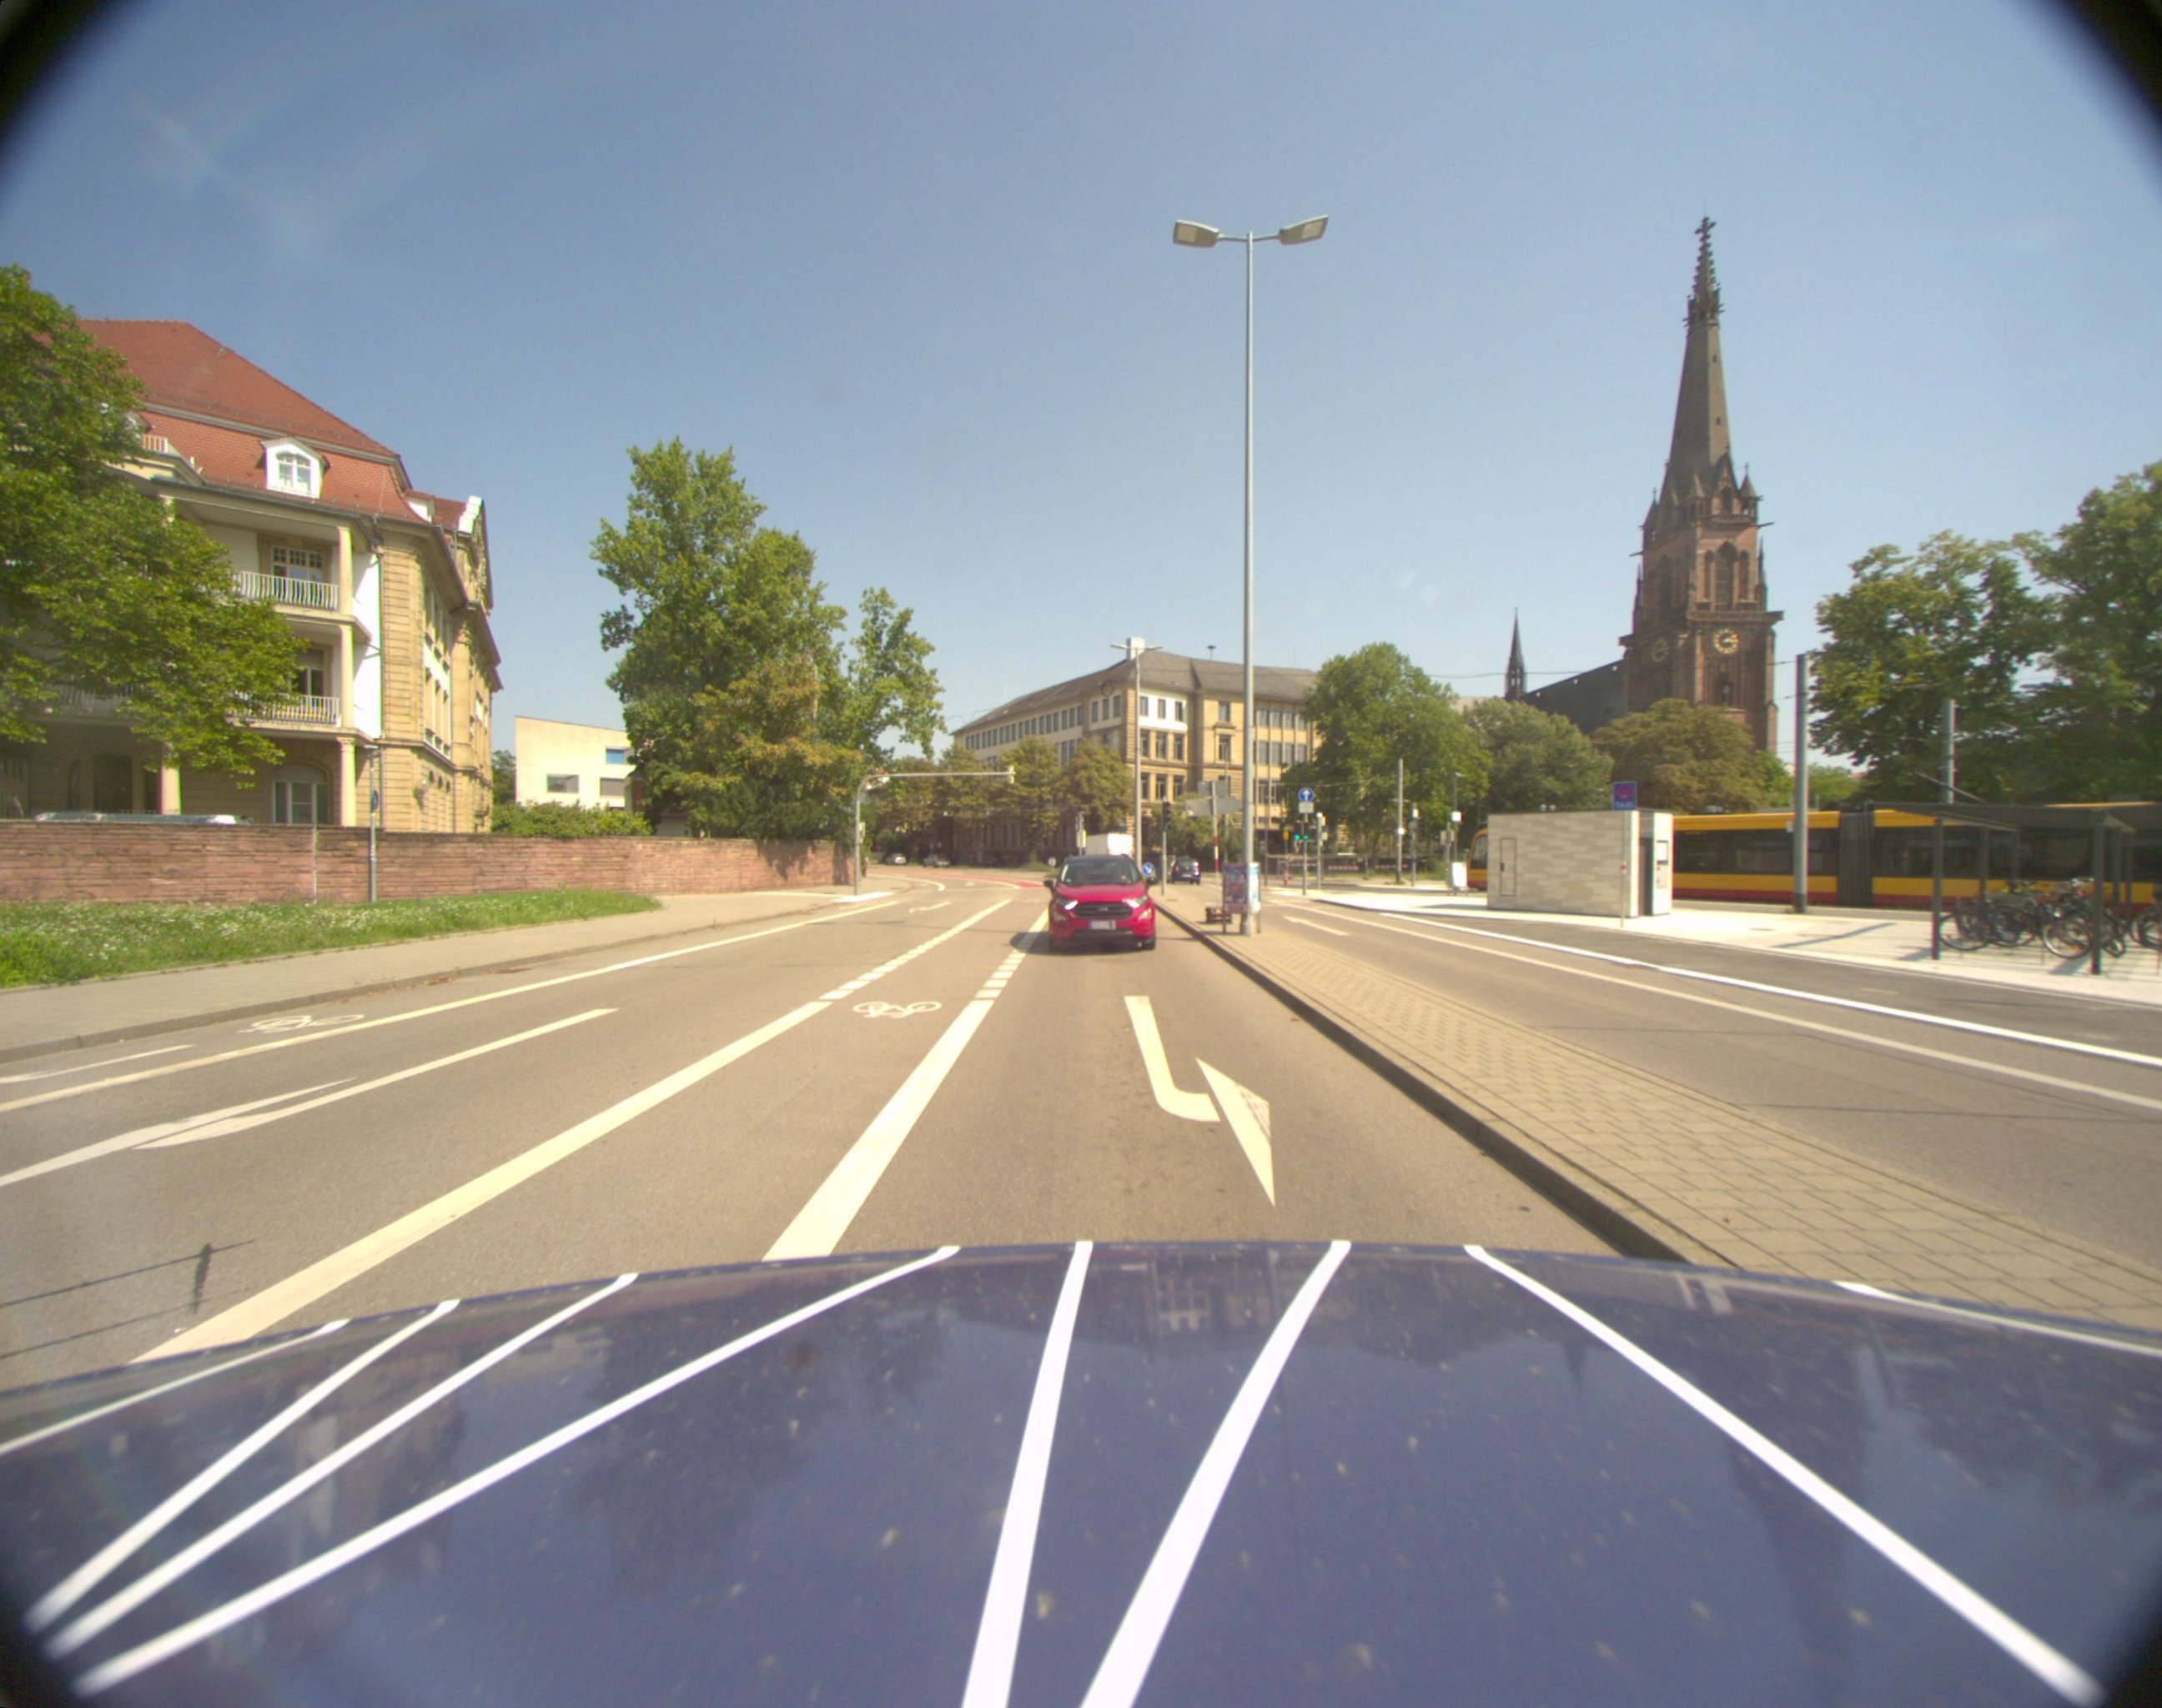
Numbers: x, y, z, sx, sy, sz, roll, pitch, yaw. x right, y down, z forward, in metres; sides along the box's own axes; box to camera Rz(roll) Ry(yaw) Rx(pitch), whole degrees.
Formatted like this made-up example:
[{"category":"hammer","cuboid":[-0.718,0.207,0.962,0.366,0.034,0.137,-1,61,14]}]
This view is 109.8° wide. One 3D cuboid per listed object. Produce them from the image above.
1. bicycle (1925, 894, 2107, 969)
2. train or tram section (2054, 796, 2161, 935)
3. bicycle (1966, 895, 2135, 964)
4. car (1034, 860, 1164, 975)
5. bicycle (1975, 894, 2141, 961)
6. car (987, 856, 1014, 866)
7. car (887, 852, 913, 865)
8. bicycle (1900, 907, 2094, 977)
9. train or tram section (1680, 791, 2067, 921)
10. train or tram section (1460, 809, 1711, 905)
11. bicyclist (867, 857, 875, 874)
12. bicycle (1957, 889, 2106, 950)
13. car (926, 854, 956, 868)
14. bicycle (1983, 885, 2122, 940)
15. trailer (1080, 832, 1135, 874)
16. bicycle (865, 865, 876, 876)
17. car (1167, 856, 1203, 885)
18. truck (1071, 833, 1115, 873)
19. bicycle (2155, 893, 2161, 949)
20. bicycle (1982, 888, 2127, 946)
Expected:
[{"category":"bicycle","cuboid":[15.543,1.247,12.692,0.528,1.075,1.860,0,0,-32]},{"category":"train or tram section","cuboid":[30.527,0.347,18.291,3.168,3.576,8.503,1,0,-34]},{"category":"bicycle","cuboid":[16.828,1.272,13.242,0.528,1.034,1.765,0,0,-32]},{"category":"car","cuboid":[0.272,0.921,12.849,1.844,1.605,4.000,1,0,0]},{"category":"bicycle","cuboid":[17.433,1.272,13.607,0.528,1.034,1.765,0,0,-32]},{"category":"car","cuboid":[-9.763,0.788,91.914,3.064,1.169,1.248,0,0,-39]},{"category":"car","cuboid":[-23.217,0.553,97.599,2.004,1.660,3.990,0,0,-33]},{"category":"bicycle","cuboid":[14.383,1.348,12.005,0.492,0.878,1.893,0,0,-32]},{"category":"train or tram section","cuboid":[25.733,0.112,25.305,3.168,3.576,8.504,1,-1,-34]},{"category":"train or tram section","cuboid":[20.992,0.189,32.238,3.144,3.539,8.307,1,-1,-35]},{"category":"bicyclist","cuboid":[-15.355,0.822,55.534,0.433,1.226,0.540,0,1,-2]},{"category":"bicycle","cuboid":[18.562,1.247,14.887,0.528,1.034,1.765,0,0,-32]},{"category":"car","cuboid":[-15.885,0.780,86.207,1.891,1.586,3.989,0,0,-34]},{"category":"bicycle","cuboid":[20.674,1.218,16.217,0.528,1.034,1.765,0,0,-32]},{"category":"trailer","cuboid":[2.082,-0.090,61.198,2.445,3.269,5.078,0,1,-24]},{"category":"bicycle","cuboid":[-15.359,1.204,55.533,0.437,0.807,1.485,0,0,-2]},{"category":"car","cuboid":[5.874,0.908,43.330,1.584,1.489,3.586,2,0,1]},{"category":"truck","cuboid":[0.965,-0.115,63.606,2.433,3.269,3.420,0,1,-24]},{"category":"bicycle","cuboid":[20.791,1.257,13.680,0.413,1.034,1.637,0,0,-32]},{"category":"bicycle","cuboid":[19.766,1.254,15.469,0.528,1.034,1.765,0,0,-32]}]
